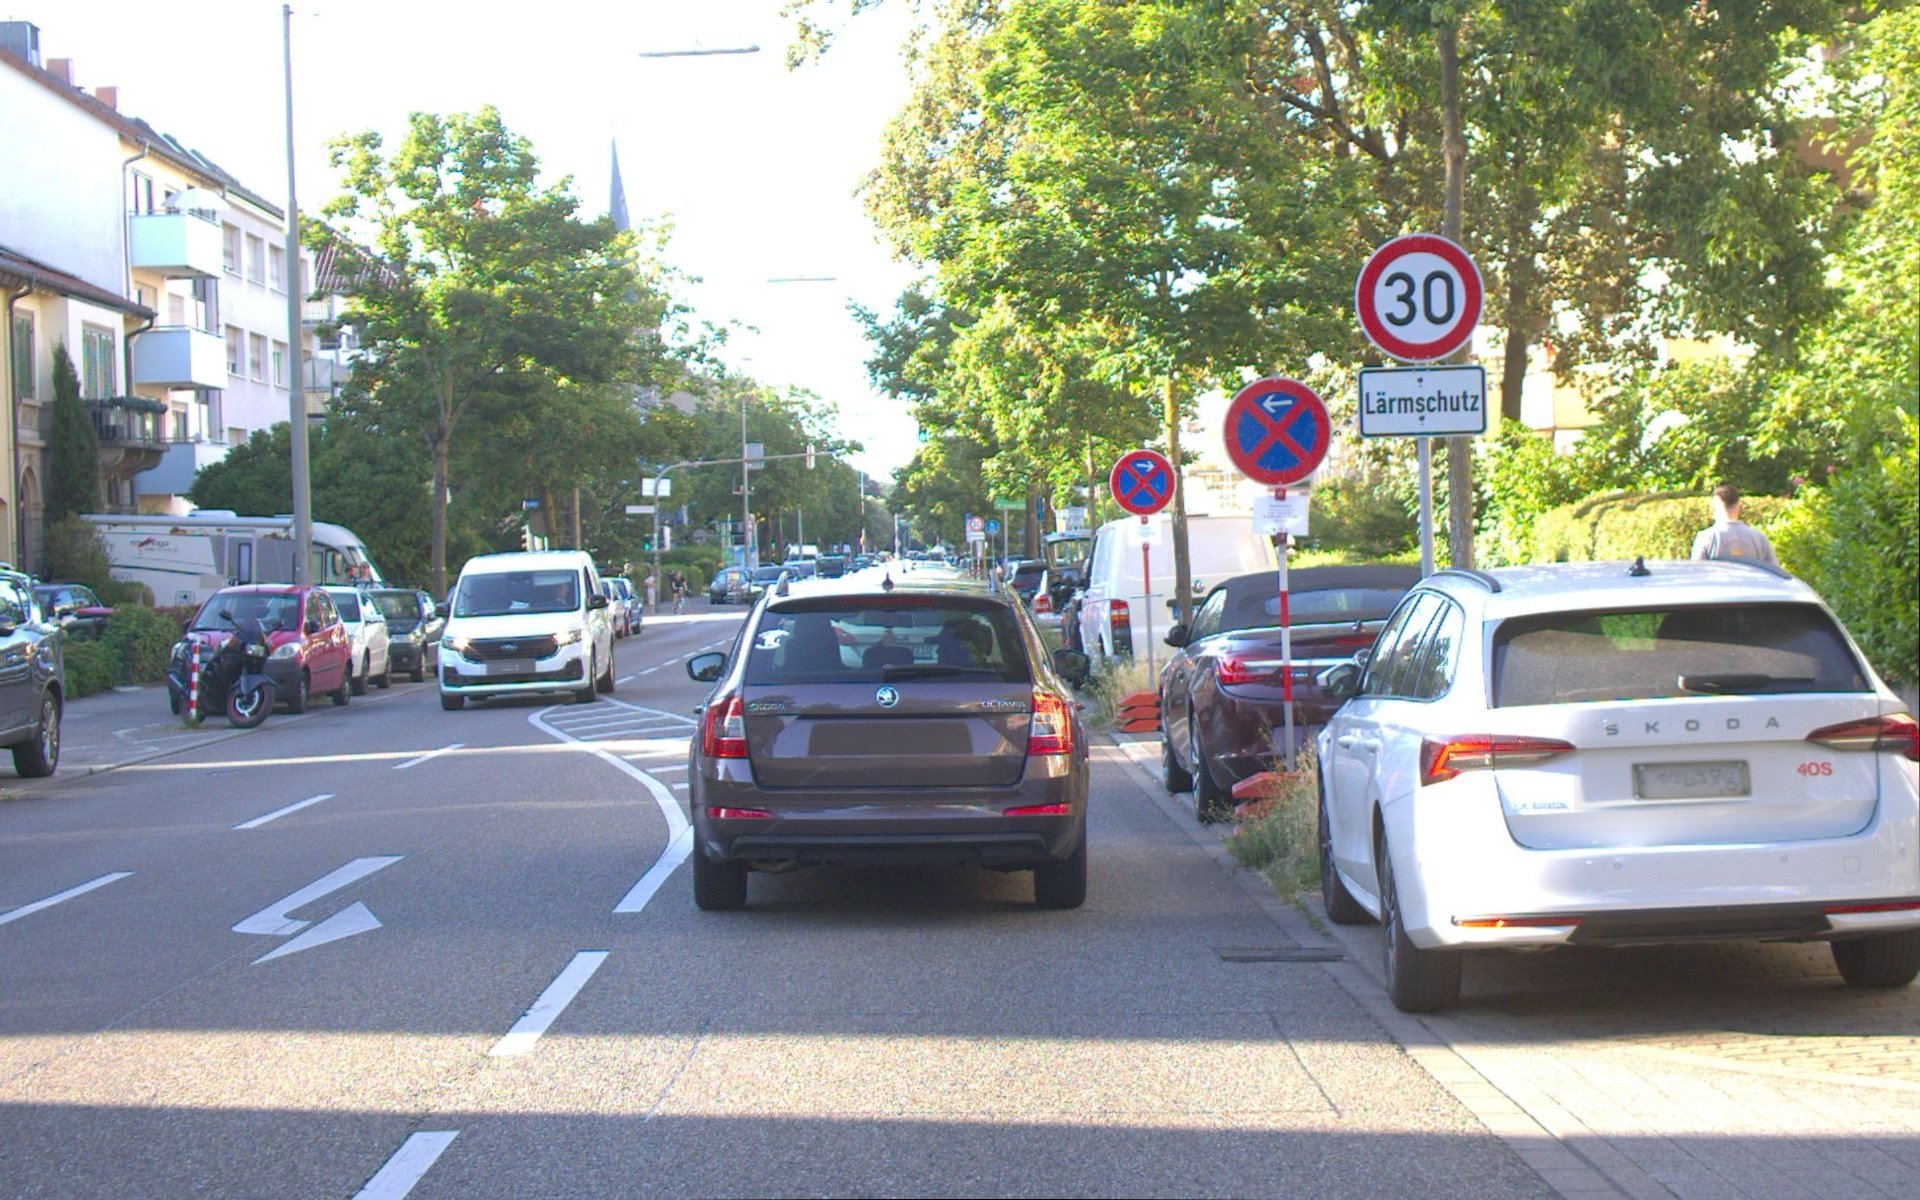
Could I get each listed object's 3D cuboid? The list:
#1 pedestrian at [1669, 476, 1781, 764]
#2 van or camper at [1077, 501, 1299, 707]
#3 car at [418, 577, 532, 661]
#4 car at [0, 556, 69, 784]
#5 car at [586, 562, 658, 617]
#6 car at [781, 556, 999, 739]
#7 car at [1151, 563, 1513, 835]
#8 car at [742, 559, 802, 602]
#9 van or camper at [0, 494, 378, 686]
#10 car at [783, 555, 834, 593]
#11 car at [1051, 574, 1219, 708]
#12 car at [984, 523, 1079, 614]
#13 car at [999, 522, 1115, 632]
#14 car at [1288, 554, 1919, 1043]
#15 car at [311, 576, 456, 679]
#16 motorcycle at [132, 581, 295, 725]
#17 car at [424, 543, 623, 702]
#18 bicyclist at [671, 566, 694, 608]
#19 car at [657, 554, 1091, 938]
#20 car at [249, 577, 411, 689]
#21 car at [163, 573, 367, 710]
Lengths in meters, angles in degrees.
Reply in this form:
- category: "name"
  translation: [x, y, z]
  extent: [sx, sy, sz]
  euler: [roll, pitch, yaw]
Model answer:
- category: "pedestrian"
  translation: [4.858, 0.120, 21.861]
  extent: [0.535, 1.788, 0.687]
  euler: [-1, 1, 1]
- category: "van or camper"
  translation: [2.350, -0.004, 36.365]
  extent: [1.993, 2.007, 4.000]
  euler: [-1, 1, -1]
- category: "car"
  translation: [-8.972, 0.334, 63.812]
  extent: [1.664, 1.427, 3.275]
  euler: [-1, 1, -1]
- category: "car"
  translation: [-8.242, 0.567, 27.032]
  extent: [1.507, 1.751, 3.694]
  euler: [-1, 1, -1]
- category: "car"
  translation: [-9.238, -0.301, 94.122]
  extent: [1.664, 1.427, 3.275]
  euler: [-1, 1, -1]
- category: "car"
  translation: [-0.698, 0.376, 31.261]
  extent: [1.729, 1.488, 3.951]
  euler: [-2, 1, -4]
- category: "car"
  translation: [2.160, 0.522, 20.955]
  extent: [1.821, 1.408, 4.111]
  euler: [-1, 1, 1]
- category: "car"
  translation: [-6.914, -0.720, 126.929]
  extent: [1.993, 1.503, 4.000]
  euler: [-2, 1, -1]
- category: "van or camper"
  translation: [-16.484, -0.230, 73.534]
  extent: [7.639, 3.861, 2.000]
  euler: [-2, 1, -2]
- category: "car"
  translation: [-6.350, -1.091, 144.302]
  extent: [1.993, 1.503, 4.000]
  euler: [-2, 1, -1]
- category: "car"
  translation: [2.137, 0.472, 42.888]
  extent: [1.729, 1.488, 3.951]
  euler: [-2, 1, -2]
- category: "car"
  translation: [1.470, -0.687, 72.150]
  extent: [1.729, 1.809, 3.951]
  euler: [-2, 1, -2]
- category: "car"
  translation: [1.649, -0.427, 59.659]
  extent: [1.729, 1.809, 3.951]
  euler: [-2, 1, -2]
- category: "car"
  translation: [2.267, 0.576, 12.469]
  extent: [1.821, 1.408, 4.111]
  euler: [-1, 1, 1]
- category: "car"
  translation: [-8.785, 0.396, 52.563]
  extent: [1.664, 1.427, 3.275]
  euler: [-1, 1, -1]
- category: "motorcycle"
  translation: [-8.135, 0.566, 37.415]
  extent: [0.764, 1.506, 2.029]
  euler: [-2, 1, -43]
- category: "car"
  translation: [-5.197, 0.223, 41.402]
  extent: [1.876, 1.751, 4.179]
  euler: [-1, 1, -1]
- category: "bicyclist"
  translation: [-10.017, -0.480, 124.213]
  extent: [0.714, 1.490, 0.855]
  euler: [-2, 1, -1]
- category: "car"
  translation: [-0.354, 0.570, 15.989]
  extent: [1.729, 1.488, 3.951]
  euler: [-1, 1, 0]
- category: "car"
  translation: [-8.764, 0.437, 48.018]
  extent: [1.664, 1.427, 3.275]
  euler: [-1, 1, -1]
- category: "car"
  translation: [-8.495, 0.471, 42.329]
  extent: [1.664, 1.506, 4.179]
  euler: [-1, 1, -1]
